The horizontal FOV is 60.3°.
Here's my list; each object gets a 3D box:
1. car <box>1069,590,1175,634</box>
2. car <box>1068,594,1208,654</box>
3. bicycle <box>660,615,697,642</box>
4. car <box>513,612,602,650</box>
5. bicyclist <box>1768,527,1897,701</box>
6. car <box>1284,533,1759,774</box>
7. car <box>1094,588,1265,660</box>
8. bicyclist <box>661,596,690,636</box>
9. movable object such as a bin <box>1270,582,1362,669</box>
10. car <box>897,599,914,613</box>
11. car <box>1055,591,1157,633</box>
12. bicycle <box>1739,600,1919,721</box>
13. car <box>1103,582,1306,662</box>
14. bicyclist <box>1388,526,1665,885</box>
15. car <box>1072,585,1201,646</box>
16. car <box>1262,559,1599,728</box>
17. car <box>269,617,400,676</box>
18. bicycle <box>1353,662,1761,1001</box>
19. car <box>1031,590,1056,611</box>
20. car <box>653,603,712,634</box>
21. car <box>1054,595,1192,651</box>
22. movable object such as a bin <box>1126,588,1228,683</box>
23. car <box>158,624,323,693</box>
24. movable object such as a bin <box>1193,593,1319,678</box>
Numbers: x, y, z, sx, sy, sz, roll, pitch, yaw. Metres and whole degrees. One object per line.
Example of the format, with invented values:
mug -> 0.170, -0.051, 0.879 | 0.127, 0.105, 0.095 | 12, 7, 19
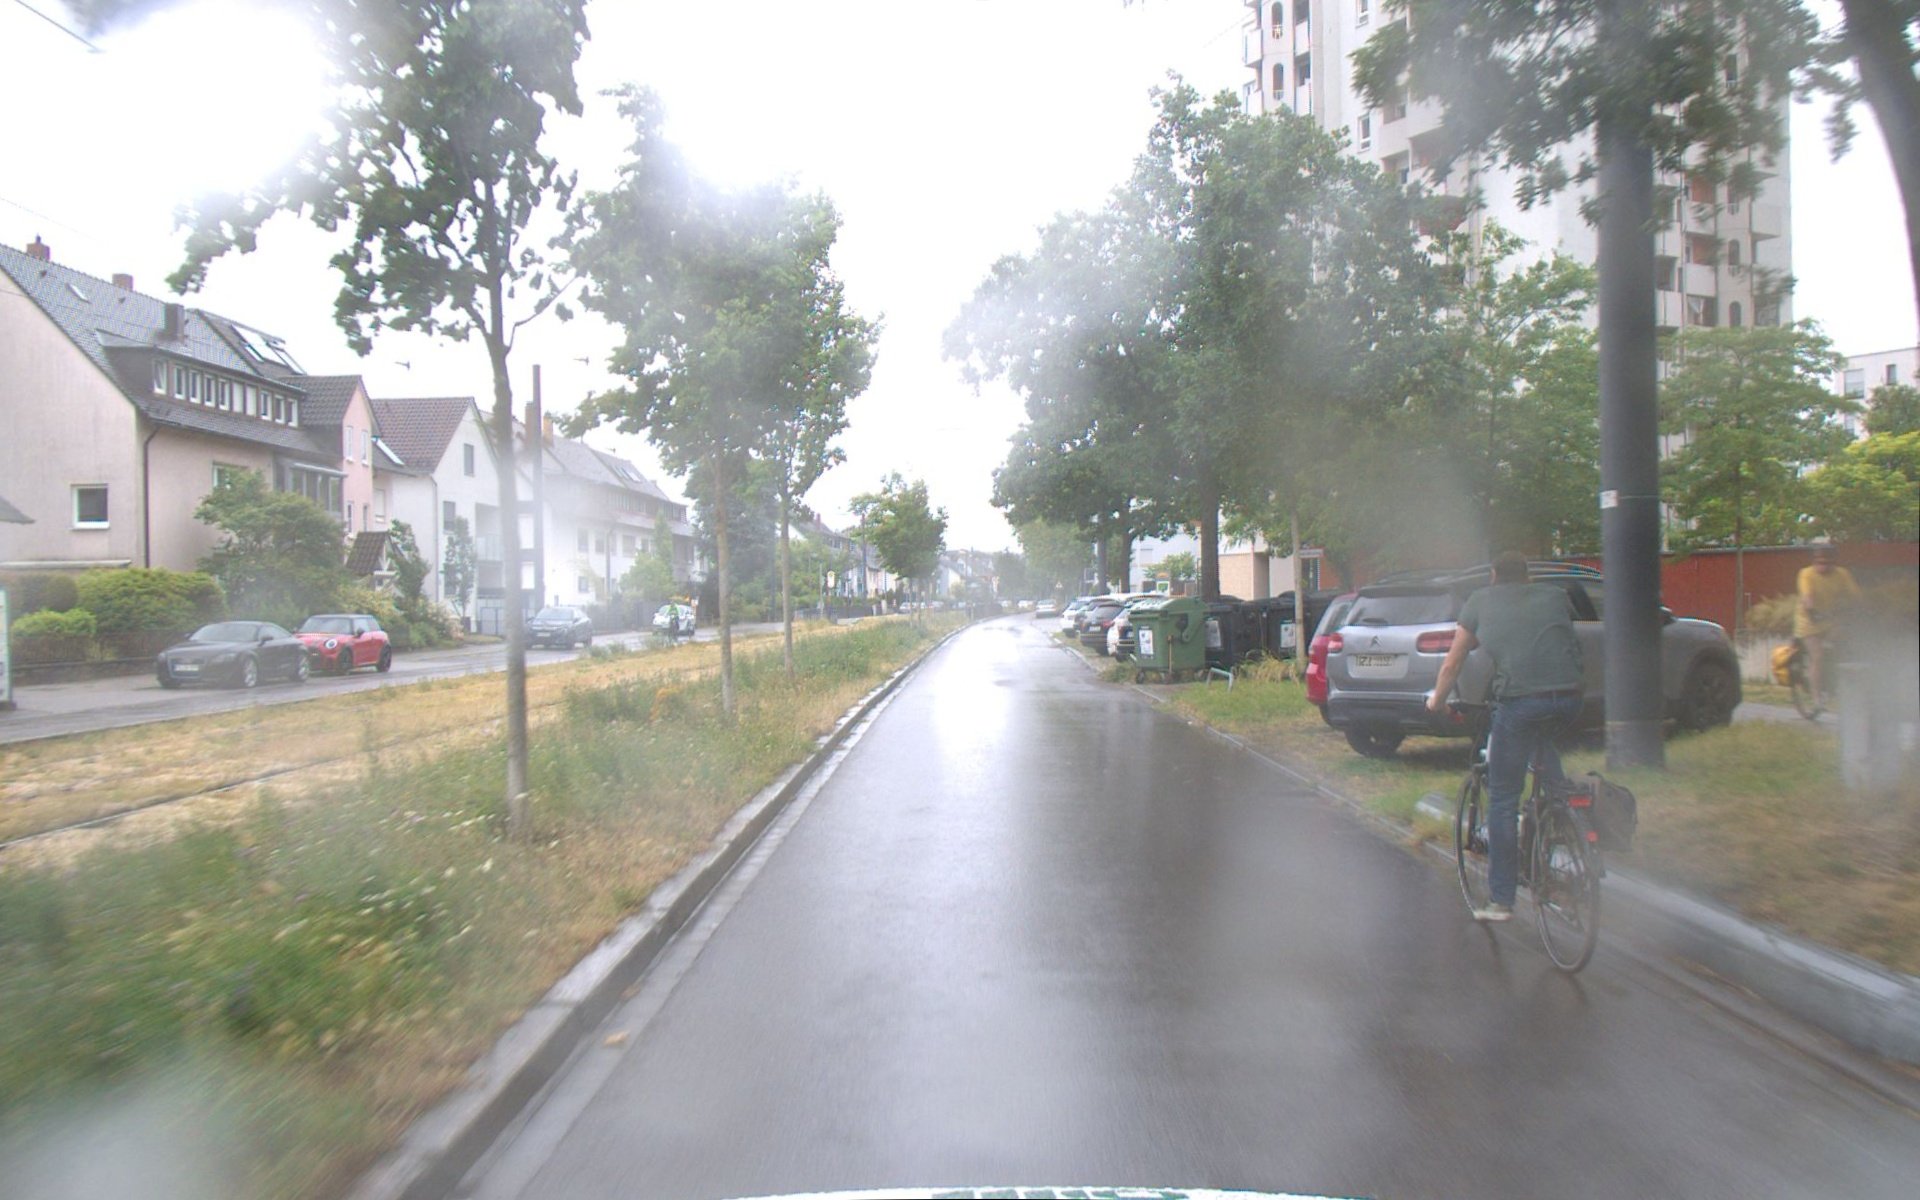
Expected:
car -> 6.212, 0.448, 63.104 | 3.997, 1.567, 1.565 | -2, 0, -37
car -> 4.840, 0.618, 44.632 | 4.010, 1.468, 1.560 | -2, 0, -44
bicycle -> -12.203, 1.222, 71.757 | 0.997, 1.045, 3.197 | -2, 0, 0
car -> -14.765, 1.120, 60.877 | 1.857, 1.266, 4.689 | 1, 0, 3
bicyclist -> 8.498, 0.133, 16.148 | 0.719, 1.621, 0.944 | -2, 0, 0
car -> 5.225, 0.403, 15.287 | 4.096, 1.749, 1.978 | -5, 2, -32
car -> 5.200, 0.539, 38.997 | 3.993, 1.545, 1.566 | -2, 0, -34
bicyclist -> -12.232, 0.682, 71.108 | 0.997, 1.715, 1.092 | -2, 0, 0
movable object such as a bin -> 6.608, 0.466, 30.752 | 1.229, 1.546, 1.079 | -2, 0, -27
car -> -6.627, 0.742, 202.056 | 1.805, 1.701, 4.000 | -2, 0, 1
car -> 5.844, 0.463, 66.030 | 3.997, 1.539, 1.565 | -2, 0, -37
bicycle -> 8.516, 0.559, 16.266 | 0.719, 1.075, 2.051 | -2, 0, 0
car -> 5.313, 0.443, 35.768 | 4.177, 1.545, 1.855 | -2, 0, -34
bicyclist -> 2.489, 0.432, 7.387 | 0.793, 1.458, 1.059 | -2, 0, -3
car -> 5.512, 0.460, 51.447 | 3.997, 1.733, 1.565 | -2, 0, -37
car -> 5.463, 0.439, 19.050 | 3.845, 1.594, 1.710 | -4, 1, -37
car -> -15.117, 1.092, 40.154 | 1.640, 1.266, 3.855 | 1, 0, 1
bicycle -> 2.500, 0.896, 7.352 | 0.793, 1.116, 2.516 | -2, 0, -2
car -> 6.856, 0.032, 136.130 | 1.795, 1.614, 4.000 | -2, 0, 1
car -> -13.905, 0.911, 83.118 | 1.857, 1.495, 4.689 | 1, 0, 3
car -> 4.804, 0.657, 48.474 | 3.997, 1.468, 1.565 | -2, 0, -37
movable object such as a bin -> 3.769, 0.607, 28.839 | 1.110, 1.482, 1.392 | -7, 2, -20
car -> -15.111, 1.193, 34.967 | 1.629, 1.266, 4.072 | 1, 0, 1
movable object such as a bin -> 5.205, 0.611, 29.172 | 1.657, 1.349, 1.392 | -4, 1, -21
